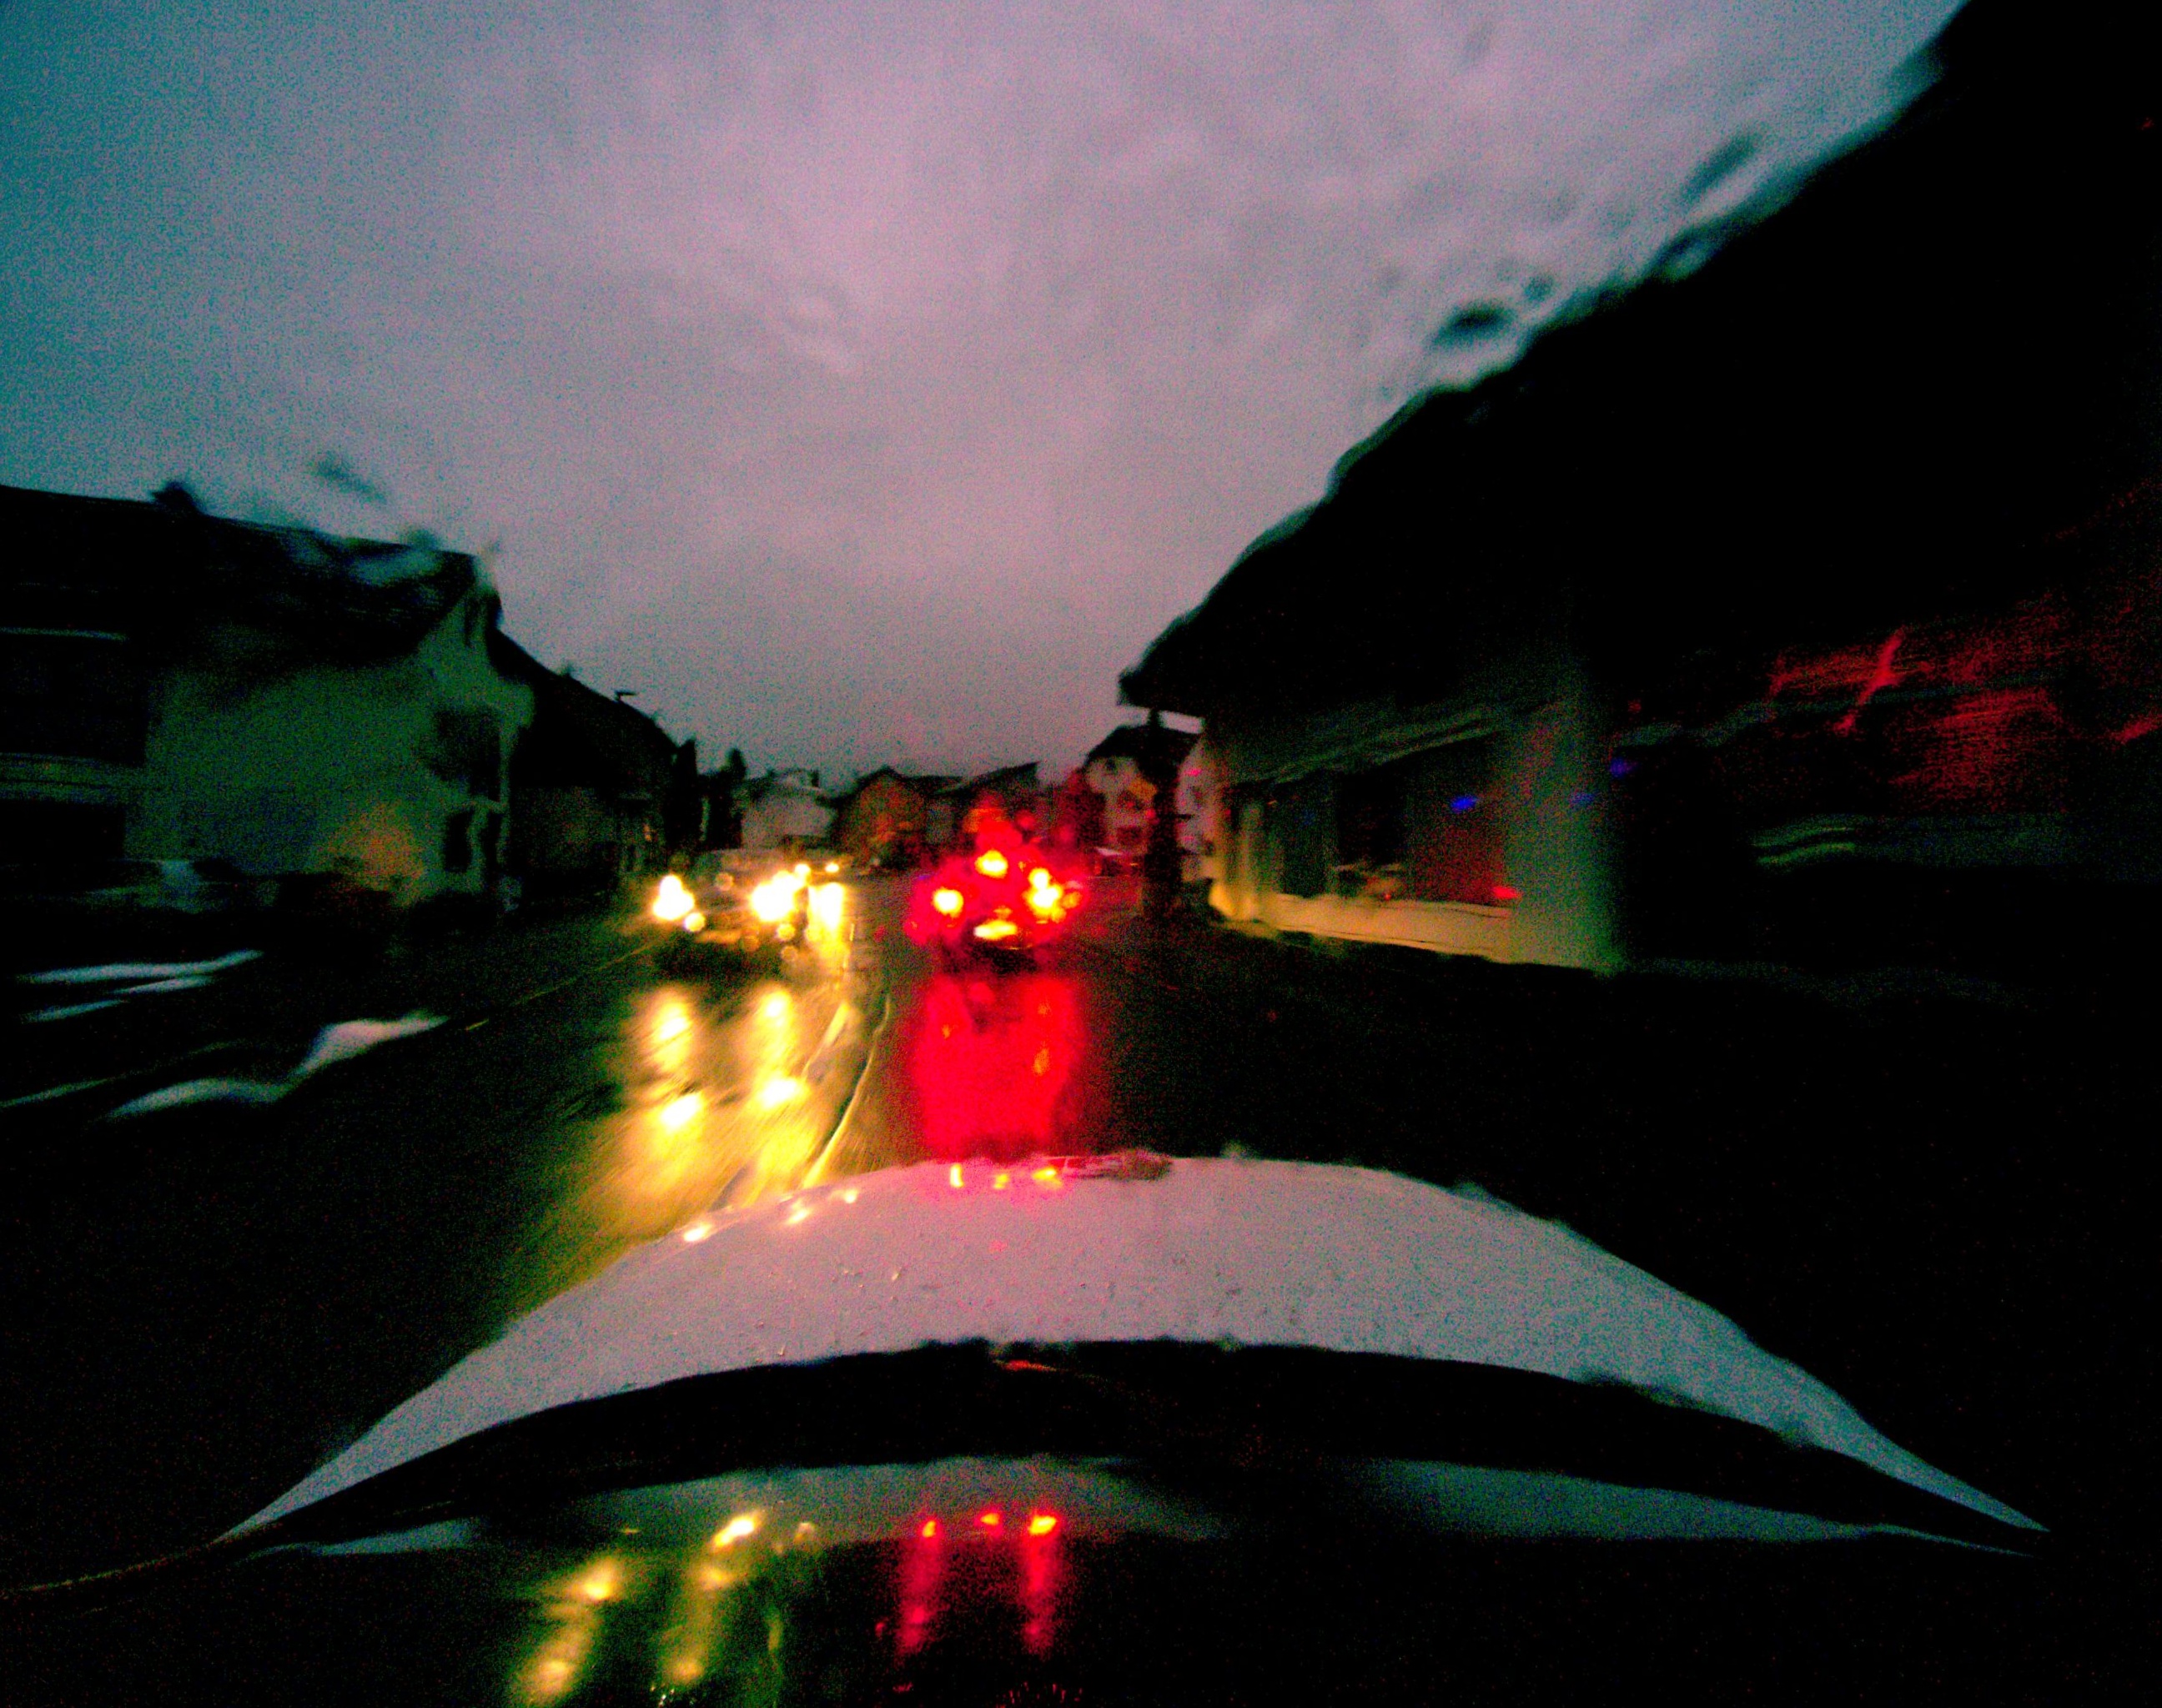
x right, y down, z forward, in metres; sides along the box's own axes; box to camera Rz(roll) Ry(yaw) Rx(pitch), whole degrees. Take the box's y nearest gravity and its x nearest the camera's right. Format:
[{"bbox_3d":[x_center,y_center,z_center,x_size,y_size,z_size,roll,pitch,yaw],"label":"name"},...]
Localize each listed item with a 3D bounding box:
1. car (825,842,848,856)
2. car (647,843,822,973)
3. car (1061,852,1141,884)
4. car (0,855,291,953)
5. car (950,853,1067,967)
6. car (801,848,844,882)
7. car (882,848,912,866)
[{"bbox_3d":[-29.145,-0.594,97.000,2.004,1.644,3.967,0,1,-26],"label":"car"},{"bbox_3d":[-5.213,0.659,12.876,1.880,1.612,4.579,-1,1,-15],"label":"car"},{"bbox_3d":[1.051,0.786,45.453,1.825,1.628,4.497,-3,1,-41],"label":"car"},{"bbox_3d":[-15.978,0.756,13.302,4.006,1.462,1.806,0,0,-25],"label":"car"},{"bbox_3d":[-1.187,0.735,12.637,1.545,1.466,3.689,0,0,-7],"label":"car"},{"bbox_3d":[-13.149,0.517,41.611,1.915,1.653,3.980,0,1,-15],"label":"car"},{"bbox_3d":[-18.119,0.259,80.174,2.004,1.644,3.967,0,1,-26],"label":"car"}]
